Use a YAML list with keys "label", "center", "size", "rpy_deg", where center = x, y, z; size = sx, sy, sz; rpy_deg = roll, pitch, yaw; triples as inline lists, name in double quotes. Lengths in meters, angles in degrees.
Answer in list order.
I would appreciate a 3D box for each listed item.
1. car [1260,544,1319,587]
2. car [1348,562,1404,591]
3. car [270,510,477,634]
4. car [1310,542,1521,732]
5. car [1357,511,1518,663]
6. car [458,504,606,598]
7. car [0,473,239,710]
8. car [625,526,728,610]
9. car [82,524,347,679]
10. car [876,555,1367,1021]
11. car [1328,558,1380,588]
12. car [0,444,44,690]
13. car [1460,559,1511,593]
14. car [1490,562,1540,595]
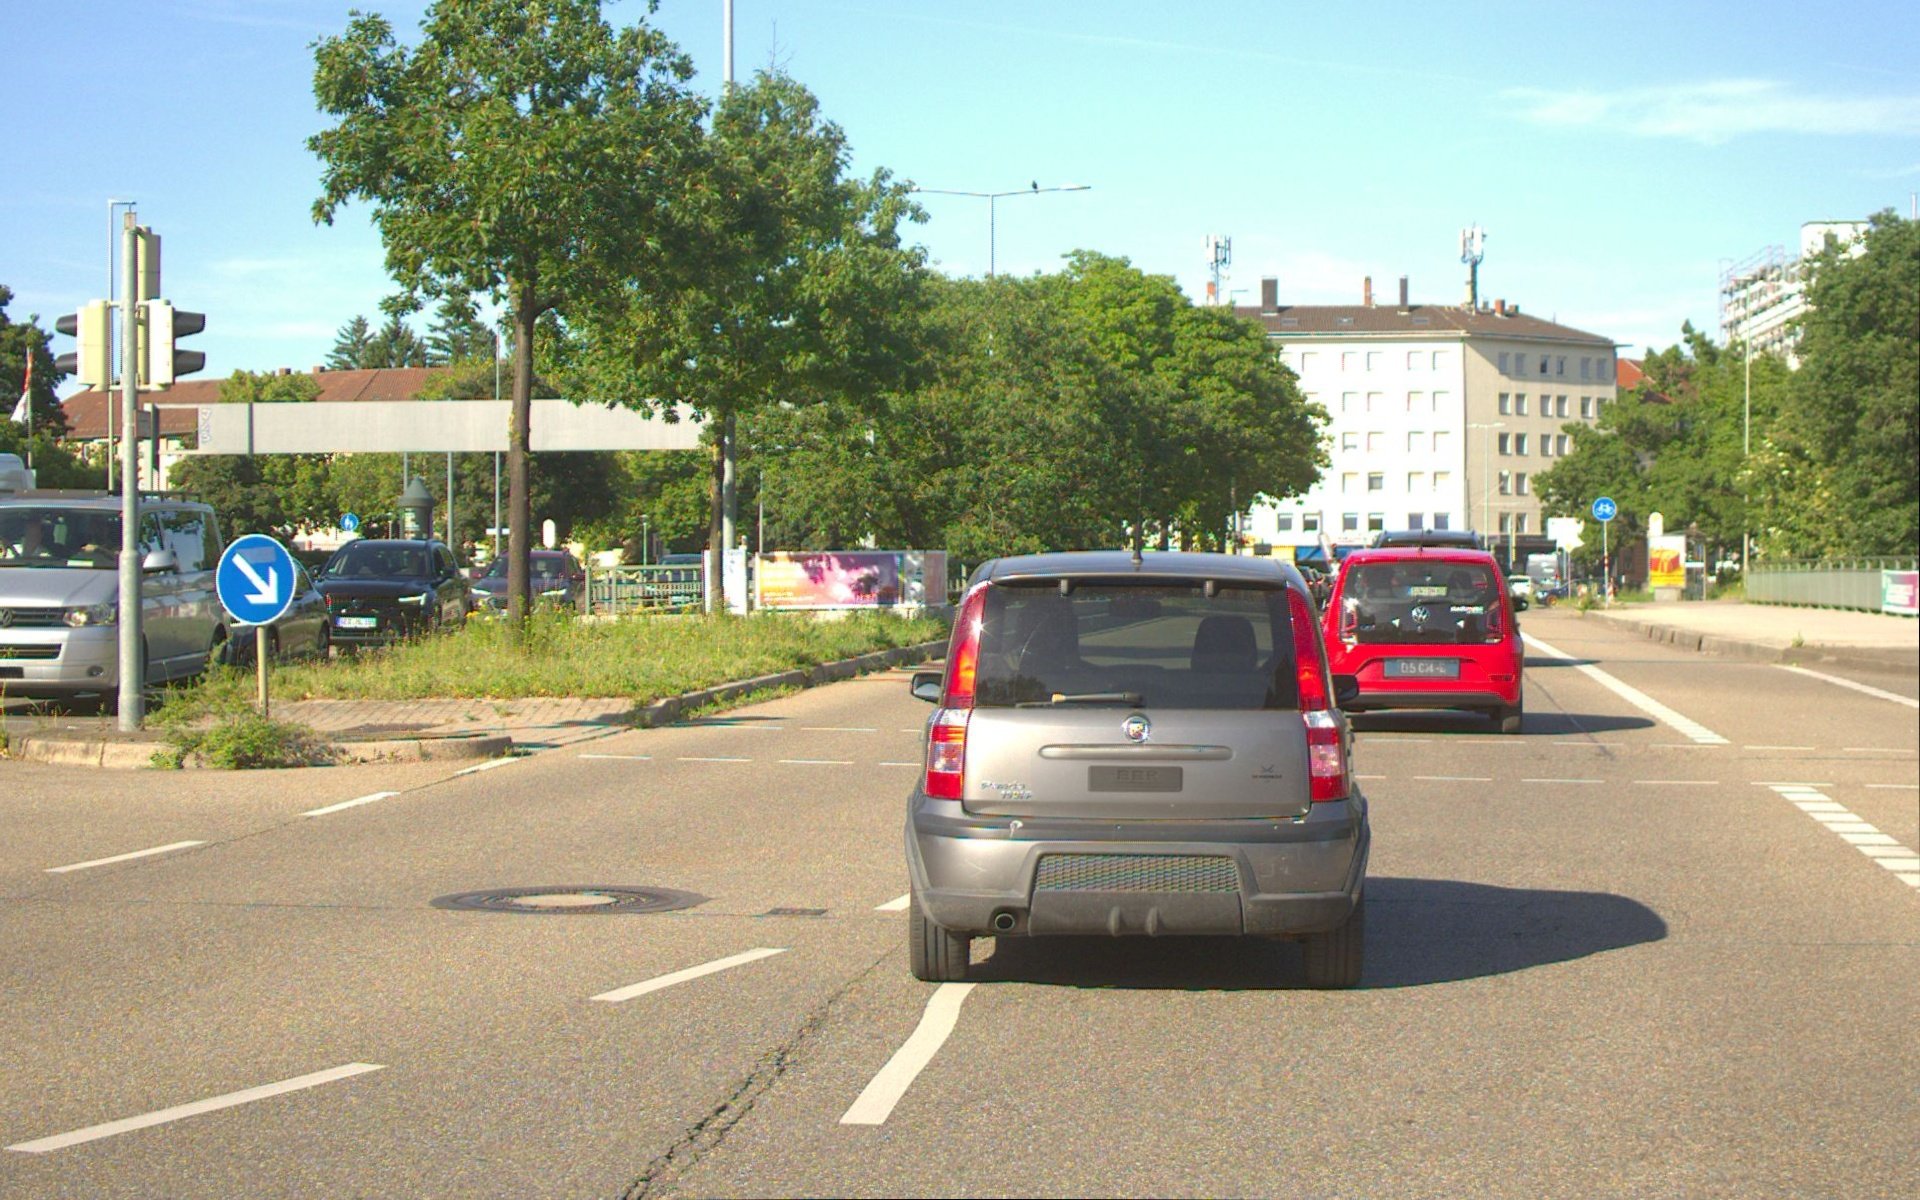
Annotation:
- label: "car"
  center: [11.837, -1.249, 123.304]
  size: [1.946, 1.523, 4.096]
  rpy_deg: [0, 1, 8]
- label: "car"
  center: [22.572, -1.281, 186.400]
  size: [1.947, 1.523, 4.092]
  rpy_deg: [0, 1, 23]
- label: "car"
  center: [-7.983, -0.401, 47.193]
  size: [1.937, 1.617, 4.505]
  rpy_deg: [0, 1, 2]
- label: "car"
  center: [3.745, 0.255, 28.533]
  size: [1.618, 1.458, 3.750]
  rpy_deg: [0, 1, 7]
- label: "car"
  center: [6.207, -0.160, 45.009]
  size: [1.946, 1.834, 4.151]
  rpy_deg: [2, 0, 7]
- label: "car"
  center: [-7.577, -0.881, 61.212]
  size: [1.937, 1.617, 4.505]
  rpy_deg: [0, 1, 2]
- label: "car"
  center: [-8.119, -0.111, 31.551]
  size: [1.936, 2.001, 4.931]
  rpy_deg: [0, 1, 0]
- label: "car"
  center: [-7.000, -0.804, 85.368]
  size: [1.994, 2.007, 4.334]
  rpy_deg: [-1, 1, 3]
- label: "car"
  center: [-8.191, -0.022, 38.157]
  size: [1.936, 1.617, 4.506]
  rpy_deg: [0, 1, 0]
- label: "car"
  center: [0.631, 0.595, 13.267]
  size: [1.617, 1.510, 3.819]
  rpy_deg: [0, 1, 3]
- label: "car"
  center: [20.443, -1.393, 178.435]
  size: [1.947, 1.523, 4.094]
  rpy_deg: [0, 1, 17]
- label: "car"
  center: [-10.991, -0.327, 34.487]
  size: [1.936, 2.567, 6.089]
  rpy_deg: [0, 1, 0]
- label: "car"
  center: [27.816, -1.258, 181.925]
  size: [1.867, 1.675, 3.904]
  rpy_deg: [1, -1, 20]
- label: "car"
  center: [30.648, -1.164, 189.855]
  size: [1.867, 1.675, 3.904]
  rpy_deg: [1, -1, 22]
